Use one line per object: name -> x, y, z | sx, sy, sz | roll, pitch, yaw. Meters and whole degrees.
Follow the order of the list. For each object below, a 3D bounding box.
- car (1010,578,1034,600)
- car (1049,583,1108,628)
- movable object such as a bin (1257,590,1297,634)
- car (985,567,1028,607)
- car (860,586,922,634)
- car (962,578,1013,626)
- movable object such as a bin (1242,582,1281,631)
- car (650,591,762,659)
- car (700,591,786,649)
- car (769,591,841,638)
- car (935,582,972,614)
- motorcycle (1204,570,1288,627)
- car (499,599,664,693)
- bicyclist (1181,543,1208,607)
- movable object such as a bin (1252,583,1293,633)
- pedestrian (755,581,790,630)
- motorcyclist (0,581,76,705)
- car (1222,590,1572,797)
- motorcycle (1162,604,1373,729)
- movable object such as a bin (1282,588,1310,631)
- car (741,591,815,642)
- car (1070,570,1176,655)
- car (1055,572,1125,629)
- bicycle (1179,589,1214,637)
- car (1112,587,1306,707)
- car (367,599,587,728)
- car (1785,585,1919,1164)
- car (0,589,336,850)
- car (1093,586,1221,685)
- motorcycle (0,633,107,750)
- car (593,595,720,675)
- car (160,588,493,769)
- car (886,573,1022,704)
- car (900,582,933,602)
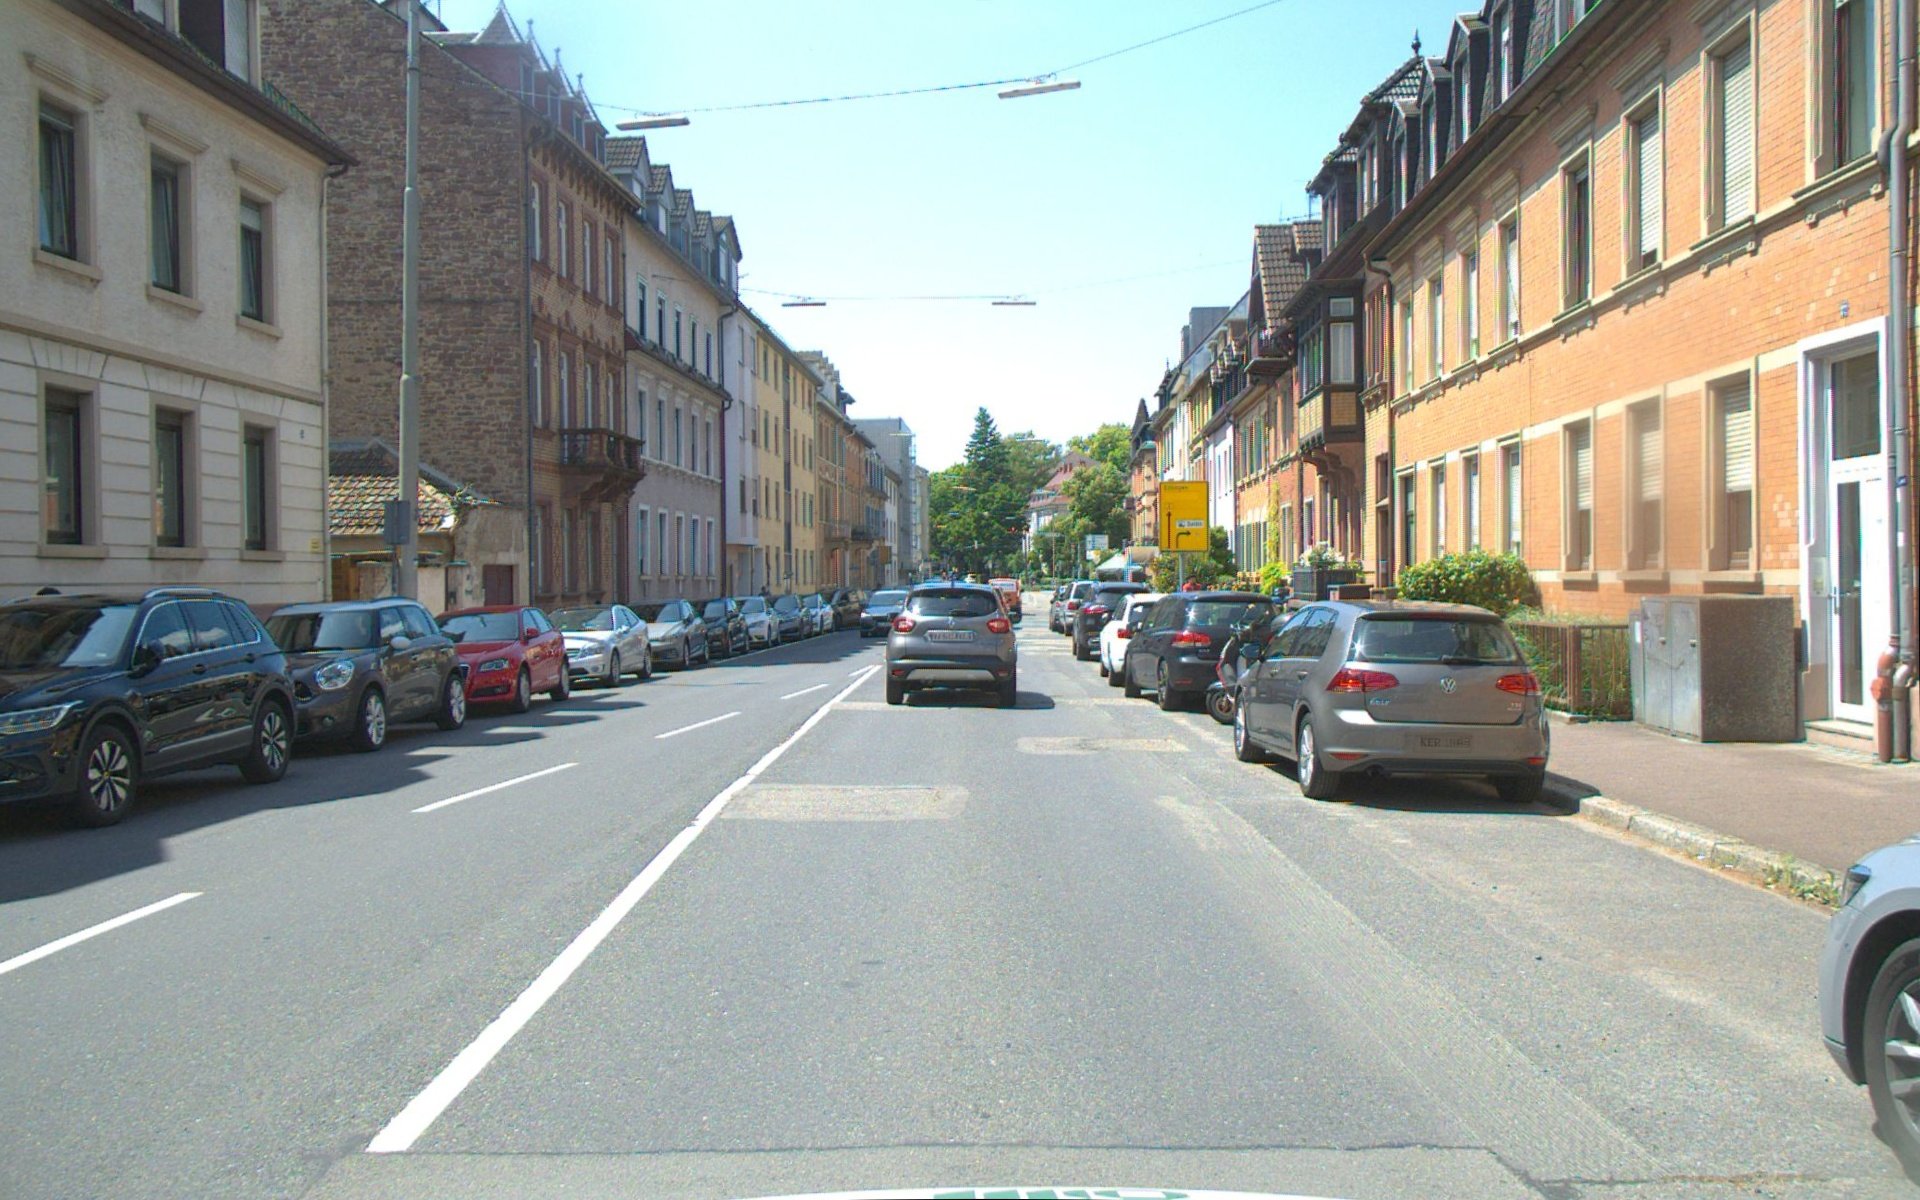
car -> 4.677, -0.865, 124.407 | 1.726, 1.587, 3.944 | -1, 1, 3
car -> 4.218, 0.180, 59.363 | 1.822, 1.513, 4.310 | 1, 1, 0
movable object such as a bin -> 7.030, 0.263, 36.698 | 0.772, 0.923, 0.539 | -2, 0, -1
car -> 2.539, -0.712, 89.850 | 1.951, 2.048, 4.470 | -2, 1, 6
car -> -2.226, 0.300, 54.163 | 1.754, 1.445, 4.315 | -2, 0, 1
car -> 1.008, 0.063, 62.180 | 1.775, 1.649, 4.441 | -3, 0, 0
movable object such as a bin -> 7.012, 0.155, 38.508 | 0.772, 1.107, 0.554 | -2, 0, -1
car -> -6.286, 0.575, 41.432 | 1.802, 1.447, 4.504 | -5, 0, 3
car -> -6.075, 0.531, 46.738 | 1.802, 1.447, 4.502 | -3, 0, -1
car -> -5.430, 0.482, 58.446 | 1.802, 1.447, 4.559 | -4, 0, 3
car -> -0.394, -0.151, 103.455 | 1.952, 1.823, 5.151 | -2, 1, 3
motorcycle -> 7.825, -0.041, 45.259 | 2.085, 1.433, 0.938 | -3, 0, 1
car -> -6.697, 0.764, 29.752 | 1.802, 1.447, 4.503 | -3, 0, 1
bicyclist -> 5.546, -0.588, 39.171 | 0.521, 1.495, 0.791 | -2, 0, 2
movable object such as a bin -> 7.051, 0.173, 37.323 | 0.772, 1.107, 0.539 | -2, 0, -1
pedestrian -> -7.093, 0.205, 62.553 | 1.127, 1.780, 0.970 | -1, 0, 4
motorcyclist -> -9.800, 0.441, 17.290 | 0.703, 1.270, 0.712 | -1, 0, 0
car -> 3.339, 0.633, 13.464 | 1.666, 1.405, 4.166 | -1, 0, -1
motorcycle -> 3.325, 0.698, 17.958 | 1.959, 1.246, 1.107 | -1, 1, 40
movable object such as a bin -> 8.690, 0.247, 42.798 | 0.596, 1.095, 0.761 | -1, 0, 3
car -> -5.738, 0.495, 52.668 | 1.802, 1.447, 4.645 | -3, 0, -1
car -> 3.511, 0.246, 36.424 | 1.952, 1.691, 4.626 | -2, 0, 2
car -> 4.204, -0.022, 54.146 | 1.822, 1.778, 4.617 | 1, 1, -1
bicycle -> 5.579, 0.298, 39.096 | 0.581, 1.084, 1.883 | -2, 0, 2
car -> 3.228, 0.559, 22.303 | 1.616, 1.439, 4.497 | -1, 0, -4
car -> -6.611, 0.801, 23.168 | 1.803, 1.447, 4.501 | -4, 1, -2
car -> 3.549, 0.704, 2.654 | 1.818, 1.489, 4.544 | -1, 0, -6
car -> -6.602, 0.783, 12.666 | 1.802, 1.624, 4.503 | -3, 0, 1
car -> 3.173, 0.523, 27.421 | 1.681, 1.439, 4.590 | -2, 1, 2
motorcycle -> -9.824, 0.928, 17.247 | 0.828, 1.097, 1.872 | -1, 1, 1
car -> -6.447, 0.699, 35.616 | 1.803, 1.447, 4.502 | -6, 0, 0
car -> -6.809, 0.755, 18.369 | 1.802, 1.624, 4.503 | -5, 0, 1
car -> -0.055, 0.480, 22.904 | 1.708, 1.644, 4.000 | 0, 0, 0
car -> -3.051, -0.580, 117.323 | 1.864, 1.314, 4.305 | -2, 1, 4
